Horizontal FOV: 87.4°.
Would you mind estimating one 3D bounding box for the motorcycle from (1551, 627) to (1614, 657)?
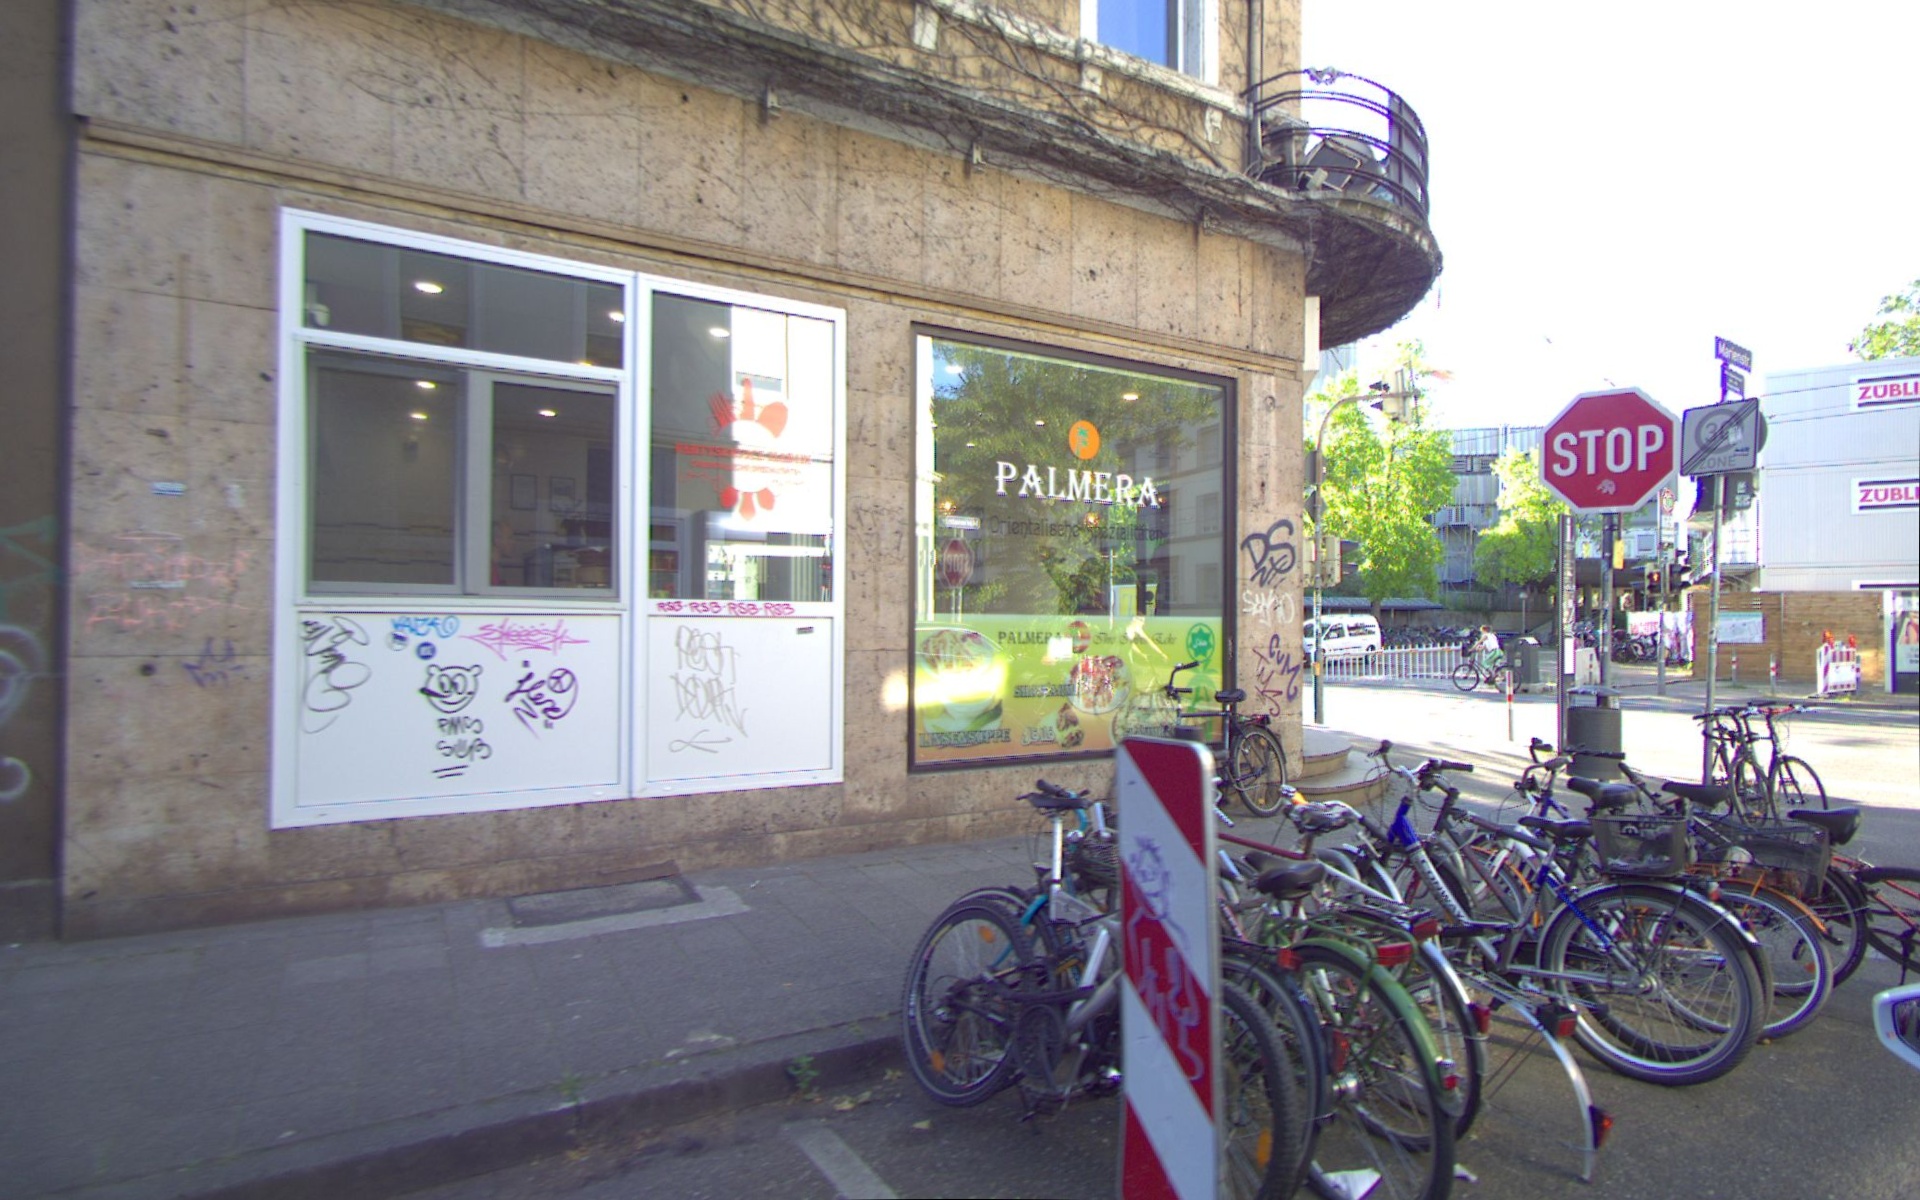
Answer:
[{"bbox_3d":[26.502,1.795,42.793,2.167,1.274,0.543,-1,-1,16],"label":"motorcycle"}]

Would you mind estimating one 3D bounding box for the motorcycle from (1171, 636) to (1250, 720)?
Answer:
[{"bbox_3d":[4.457,1.358,17.723,0.981,1.368,2.421,-1,-4,23],"label":"motorcycle"}]

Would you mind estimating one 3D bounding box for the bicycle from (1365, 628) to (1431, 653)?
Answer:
[{"bbox_3d":[21.008,1.924,48.270,0.811,1.162,3.068,0,-1,-27],"label":"bicycle"}]

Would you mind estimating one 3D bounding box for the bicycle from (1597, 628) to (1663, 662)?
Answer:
[{"bbox_3d":[25.296,1.696,37.954,2.009,1.274,0.471,-1,-1,16],"label":"bicycle"}]

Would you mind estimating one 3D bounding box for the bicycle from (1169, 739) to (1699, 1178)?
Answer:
[{"bbox_3d":[1.503,1.075,3.553,0.438,0.974,1.756,1,-2,-30],"label":"bicycle"}]

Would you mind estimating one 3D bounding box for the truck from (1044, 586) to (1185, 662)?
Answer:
[{"bbox_3d":[7.470,1.062,47.974,7.052,3.392,2.366,-1,0,-37],"label":"truck"}]

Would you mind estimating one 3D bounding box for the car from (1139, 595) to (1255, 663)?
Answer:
[{"bbox_3d":[10.216,1.169,43.078,5.335,2.565,1.977,-3,1,-40],"label":"car"}]

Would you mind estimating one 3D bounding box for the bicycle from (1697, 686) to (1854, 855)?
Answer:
[{"bbox_3d":[6.544,1.313,8.147,0.449,1.060,1.687,0,1,20],"label":"bicycle"}]

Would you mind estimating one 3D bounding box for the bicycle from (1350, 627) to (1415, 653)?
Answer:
[{"bbox_3d":[20.018,1.893,47.709,0.811,1.162,3.068,0,-1,-27],"label":"bicycle"}]

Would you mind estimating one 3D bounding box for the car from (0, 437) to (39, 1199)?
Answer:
[{"bbox_3d":[-3.577,0.551,0.347,4.465,1.934,1.672,1,-5,-30],"label":"car"}]

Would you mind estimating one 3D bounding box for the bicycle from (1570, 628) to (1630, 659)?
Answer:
[{"bbox_3d":[26.490,1.790,41.601,2.009,1.274,0.543,-1,-1,16],"label":"bicycle"}]

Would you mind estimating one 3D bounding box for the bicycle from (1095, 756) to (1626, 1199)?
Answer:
[{"bbox_3d":[1.157,1.118,3.338,0.417,0.974,1.756,1,-2,-30],"label":"bicycle"}]

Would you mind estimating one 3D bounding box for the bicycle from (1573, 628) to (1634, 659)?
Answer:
[{"bbox_3d":[26.267,1.775,41.047,2.009,1.274,0.543,-1,-1,16],"label":"bicycle"}]

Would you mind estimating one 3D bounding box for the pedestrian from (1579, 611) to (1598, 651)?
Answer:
[{"bbox_3d":[32.476,1.607,51.907,0.789,2.040,1.029,-1,-1,30],"label":"pedestrian"}]

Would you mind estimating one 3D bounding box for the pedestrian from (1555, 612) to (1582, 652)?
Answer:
[{"bbox_3d":[31.264,1.624,51.626,0.926,2.040,0.798,0,-1,-26],"label":"pedestrian"}]

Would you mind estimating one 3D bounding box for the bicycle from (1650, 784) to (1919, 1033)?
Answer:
[{"bbox_3d":[3.747,1.294,4.268,0.352,0.829,1.298,1,-2,-39],"label":"bicycle"}]

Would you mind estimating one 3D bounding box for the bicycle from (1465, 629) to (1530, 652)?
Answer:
[{"bbox_3d":[27.709,2.065,51.837,0.811,1.162,3.068,0,-1,-27],"label":"bicycle"}]

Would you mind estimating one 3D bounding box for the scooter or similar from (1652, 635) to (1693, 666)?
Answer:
[{"bbox_3d":[25.089,1.774,35.375,1.464,1.033,0.384,0,-1,-18],"label":"scooter or similar"}]

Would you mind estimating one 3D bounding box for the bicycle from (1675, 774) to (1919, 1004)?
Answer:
[{"bbox_3d":[4.033,1.288,4.502,0.368,0.829,1.298,1,-2,-39],"label":"bicycle"}]

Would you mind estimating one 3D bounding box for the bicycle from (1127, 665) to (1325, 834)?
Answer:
[{"bbox_3d":[1.951,1.035,7.281,1.573,1.106,0.396,2,-2,-30],"label":"bicycle"}]

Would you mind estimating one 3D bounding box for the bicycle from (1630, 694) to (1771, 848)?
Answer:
[{"bbox_3d":[6.104,1.357,8.365,0.442,1.059,1.664,-2,-3,20],"label":"bicycle"}]

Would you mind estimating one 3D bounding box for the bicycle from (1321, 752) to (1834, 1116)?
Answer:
[{"bbox_3d":[2.375,1.212,4.105,0.424,0.974,1.752,1,-2,-36],"label":"bicycle"}]

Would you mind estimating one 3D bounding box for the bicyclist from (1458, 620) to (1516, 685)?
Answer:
[{"bbox_3d":[13.815,1.374,26.331,0.887,1.661,1.089,2,-2,-36],"label":"bicyclist"}]

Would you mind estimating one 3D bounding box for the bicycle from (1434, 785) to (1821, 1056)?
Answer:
[{"bbox_3d":[2.776,1.282,4.294,0.378,0.829,1.298,1,-4,-39],"label":"bicycle"}]

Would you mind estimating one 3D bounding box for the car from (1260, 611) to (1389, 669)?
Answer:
[{"bbox_3d":[13.915,1.459,38.260,4.891,1.918,1.994,-2,0,-32],"label":"car"}]

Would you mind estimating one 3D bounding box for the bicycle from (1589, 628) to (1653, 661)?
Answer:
[{"bbox_3d":[25.571,1.720,38.898,2.009,1.274,0.471,-1,-1,16],"label":"bicycle"}]

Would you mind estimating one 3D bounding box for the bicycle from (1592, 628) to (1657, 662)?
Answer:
[{"bbox_3d":[25.411,1.709,38.420,2.009,1.274,0.471,-1,-1,16],"label":"bicycle"}]

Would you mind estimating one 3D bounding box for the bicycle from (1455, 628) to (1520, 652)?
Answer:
[{"bbox_3d":[26.922,2.039,51.350,0.811,1.162,3.068,0,-1,-27],"label":"bicycle"}]

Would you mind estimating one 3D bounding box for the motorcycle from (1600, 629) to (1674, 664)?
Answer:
[{"bbox_3d":[24.870,1.696,36.940,2.167,1.274,0.543,-1,-1,16],"label":"motorcycle"}]

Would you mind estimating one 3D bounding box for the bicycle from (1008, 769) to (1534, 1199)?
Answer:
[{"bbox_3d":[0.795,1.136,3.127,0.400,0.974,1.756,1,-2,-30],"label":"bicycle"}]

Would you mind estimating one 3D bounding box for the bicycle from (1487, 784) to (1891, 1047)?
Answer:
[{"bbox_3d":[3.139,1.311,4.449,0.358,0.829,1.376,1,-4,-39],"label":"bicycle"}]

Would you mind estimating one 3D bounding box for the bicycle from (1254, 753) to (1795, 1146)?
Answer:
[{"bbox_3d":[2.028,1.177,3.851,0.478,0.974,1.749,1,-2,-41],"label":"bicycle"}]

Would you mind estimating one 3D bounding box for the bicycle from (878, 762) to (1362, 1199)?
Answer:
[{"bbox_3d":[0.331,1.114,3.064,0.458,1.002,1.756,1,-2,-30],"label":"bicycle"}]

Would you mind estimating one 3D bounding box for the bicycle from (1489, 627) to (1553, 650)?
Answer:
[{"bbox_3d":[30.279,2.061,54.299,0.811,1.162,3.068,0,-1,-27],"label":"bicycle"}]

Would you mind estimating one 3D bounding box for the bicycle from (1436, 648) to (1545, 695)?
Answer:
[{"bbox_3d":[13.834,1.840,26.273,0.887,1.107,2.406,3,-2,-36],"label":"bicycle"}]

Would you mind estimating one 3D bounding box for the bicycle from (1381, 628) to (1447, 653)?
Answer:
[{"bbox_3d":[21.970,1.952,48.722,0.811,1.162,3.068,0,-1,-27],"label":"bicycle"}]
